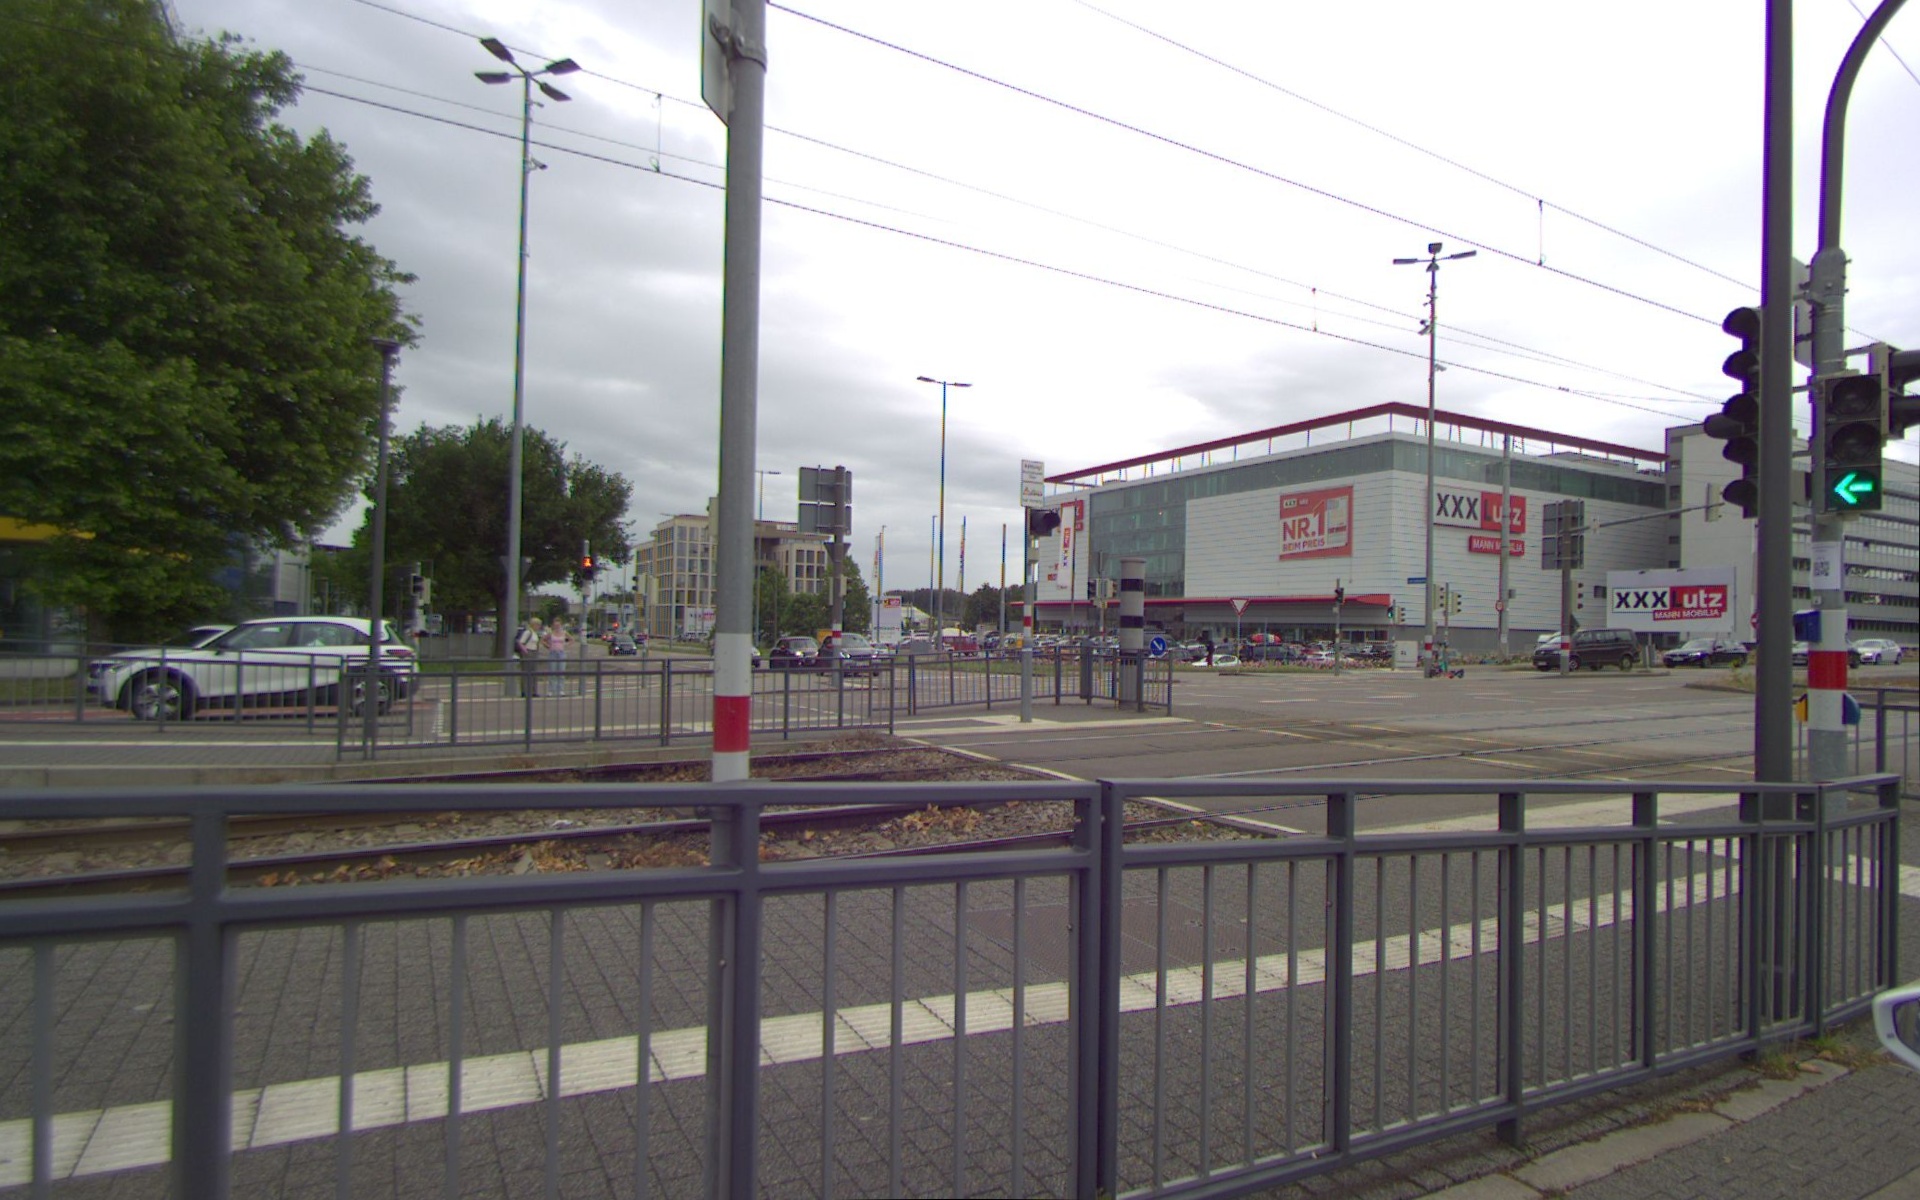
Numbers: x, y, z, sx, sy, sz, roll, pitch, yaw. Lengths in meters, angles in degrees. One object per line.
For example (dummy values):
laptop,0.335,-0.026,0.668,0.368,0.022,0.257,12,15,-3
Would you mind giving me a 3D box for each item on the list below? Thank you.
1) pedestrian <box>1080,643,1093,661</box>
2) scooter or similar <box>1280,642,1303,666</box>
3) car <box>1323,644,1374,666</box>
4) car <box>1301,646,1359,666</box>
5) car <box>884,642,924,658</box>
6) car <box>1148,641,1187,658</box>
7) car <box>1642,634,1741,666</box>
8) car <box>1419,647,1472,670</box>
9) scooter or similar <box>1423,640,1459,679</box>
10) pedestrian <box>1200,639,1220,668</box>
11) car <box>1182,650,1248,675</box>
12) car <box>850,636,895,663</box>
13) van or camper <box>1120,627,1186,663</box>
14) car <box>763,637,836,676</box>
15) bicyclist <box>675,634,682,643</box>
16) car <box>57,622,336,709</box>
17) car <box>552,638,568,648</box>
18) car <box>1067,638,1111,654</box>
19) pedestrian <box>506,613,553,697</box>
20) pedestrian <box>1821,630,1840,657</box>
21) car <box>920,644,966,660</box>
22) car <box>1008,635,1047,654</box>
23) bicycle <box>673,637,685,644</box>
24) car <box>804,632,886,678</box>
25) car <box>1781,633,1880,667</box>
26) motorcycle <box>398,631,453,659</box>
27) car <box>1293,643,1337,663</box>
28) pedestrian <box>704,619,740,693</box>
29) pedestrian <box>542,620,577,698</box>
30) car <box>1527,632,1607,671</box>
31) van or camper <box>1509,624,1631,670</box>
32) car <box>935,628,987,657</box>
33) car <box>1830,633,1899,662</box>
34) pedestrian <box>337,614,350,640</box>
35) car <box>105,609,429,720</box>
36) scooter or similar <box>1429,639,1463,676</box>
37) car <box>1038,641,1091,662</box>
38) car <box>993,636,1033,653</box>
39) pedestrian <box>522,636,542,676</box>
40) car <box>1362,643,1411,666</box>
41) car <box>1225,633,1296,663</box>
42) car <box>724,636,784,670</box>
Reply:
pedestrian,12.707,5.189,101.060,0.931,1.742,0.879,2,0,-29
scooter or similar,17.835,2.885,53.995,1.143,1.249,0.346,0,-4,24
car,33.781,4.777,87.405,4.167,1.804,1.853,1,-2,-26
car,28.018,4.253,76.024,4.156,1.495,1.734,2,-3,-26
car,-6.146,5.530,110.350,4.015,1.561,1.752,3,0,-27
car,22.481,5.358,108.967,3.953,1.676,1.820,3,-3,-30
car,36.245,2.484,49.794,4.257,1.483,1.959,2,-1,-21
car,38.037,4.573,78.666,3.955,1.687,1.870,2,-2,-31
scooter or similar,16.299,2.016,34.056,1.001,1.272,0.463,0,-3,-15
pedestrian,14.020,3.016,56.349,0.774,1.617,0.712,2,-4,-29
car,16.864,4.133,66.417,4.071,1.465,1.861,3,-1,-30
car,-6.680,3.760,76.394,1.974,1.775,4.153,2,0,-26
van or camper,16.627,3.887,86.342,5.315,3.022,1.982,2,-2,-20
car,-6.610,2.267,40.987,1.647,1.522,4.034,2,-3,-29
bicyclist,-50.237,6.866,179.132,0.981,1.523,0.701,1,-2,27
car,-15.971,1.367,21.356,1.856,1.606,4.413,0,-3,17
car,-62.308,6.683,156.572,1.912,1.539,4.154,0,-2,-27
car,13.352,4.761,104.123,4.198,1.488,1.727,3,-1,-26
pedestrian,-9.581,1.220,22.364,0.756,1.820,0.671,-3,-5,45
pedestrian,60.096,3.006,69.350,0.683,1.814,0.643,2,0,12
car,-1.779,5.375,103.957,4.332,1.480,1.947,3,0,-27
car,7.161,4.729,106.676,3.700,1.791,1.722,3,0,-27
bicycle,-50.048,7.218,179.026,1.974,1.312,0.701,1,-2,27
car,-4.223,1.977,36.448,1.627,1.435,3.681,2,-1,-29
car,40.020,2.302,46.197,4.148,1.483,1.827,2,-1,-23
motorcycle,-29.175,2.479,54.859,2.481,1.373,0.791,6,-4,-41
car,34.162,5.115,96.635,3.947,1.842,1.809,1,-3,-26
pedestrian,-5.924,1.407,24.994,0.657,1.787,0.682,-1,-4,-31
pedestrian,-9.166,1.346,23.004,0.666,1.734,0.761,2,-3,-24
car,52.604,4.467,87.021,6.862,3.029,2.749,3,0,-27
van or camper,28.536,2.189,47.047,4.670,2.039,2.120,0,-3,-13
car,0.071,4.220,99.996,4.677,2.613,2.156,3,0,-27
car,51.896,2.711,57.624,3.996,1.559,1.721,2,0,-29
pedestrian,-42.715,1.860,69.605,0.671,1.768,0.802,3,-2,-28
car,-11.030,1.058,16.369,4.095,1.606,1.783,3,-4,-31
scooter or similar,16.936,1.992,34.983,1.097,1.272,0.320,0,-3,-15
car,8.573,4.238,82.112,3.944,1.665,1.805,2,-3,-24
car,5.709,4.802,108.415,3.949,1.617,1.866,3,0,-27
pedestrian,-17.745,2.325,41.679,0.628,1.663,0.803,2,-4,-31
car,38.232,4.881,89.938,3.947,1.954,1.938,1,-3,-26
car,22.688,3.605,75.881,4.980,2.193,2.111,1,-2,-23
car,-9.497,2.394,46.067,1.588,1.463,4.113,0,-2,-28
